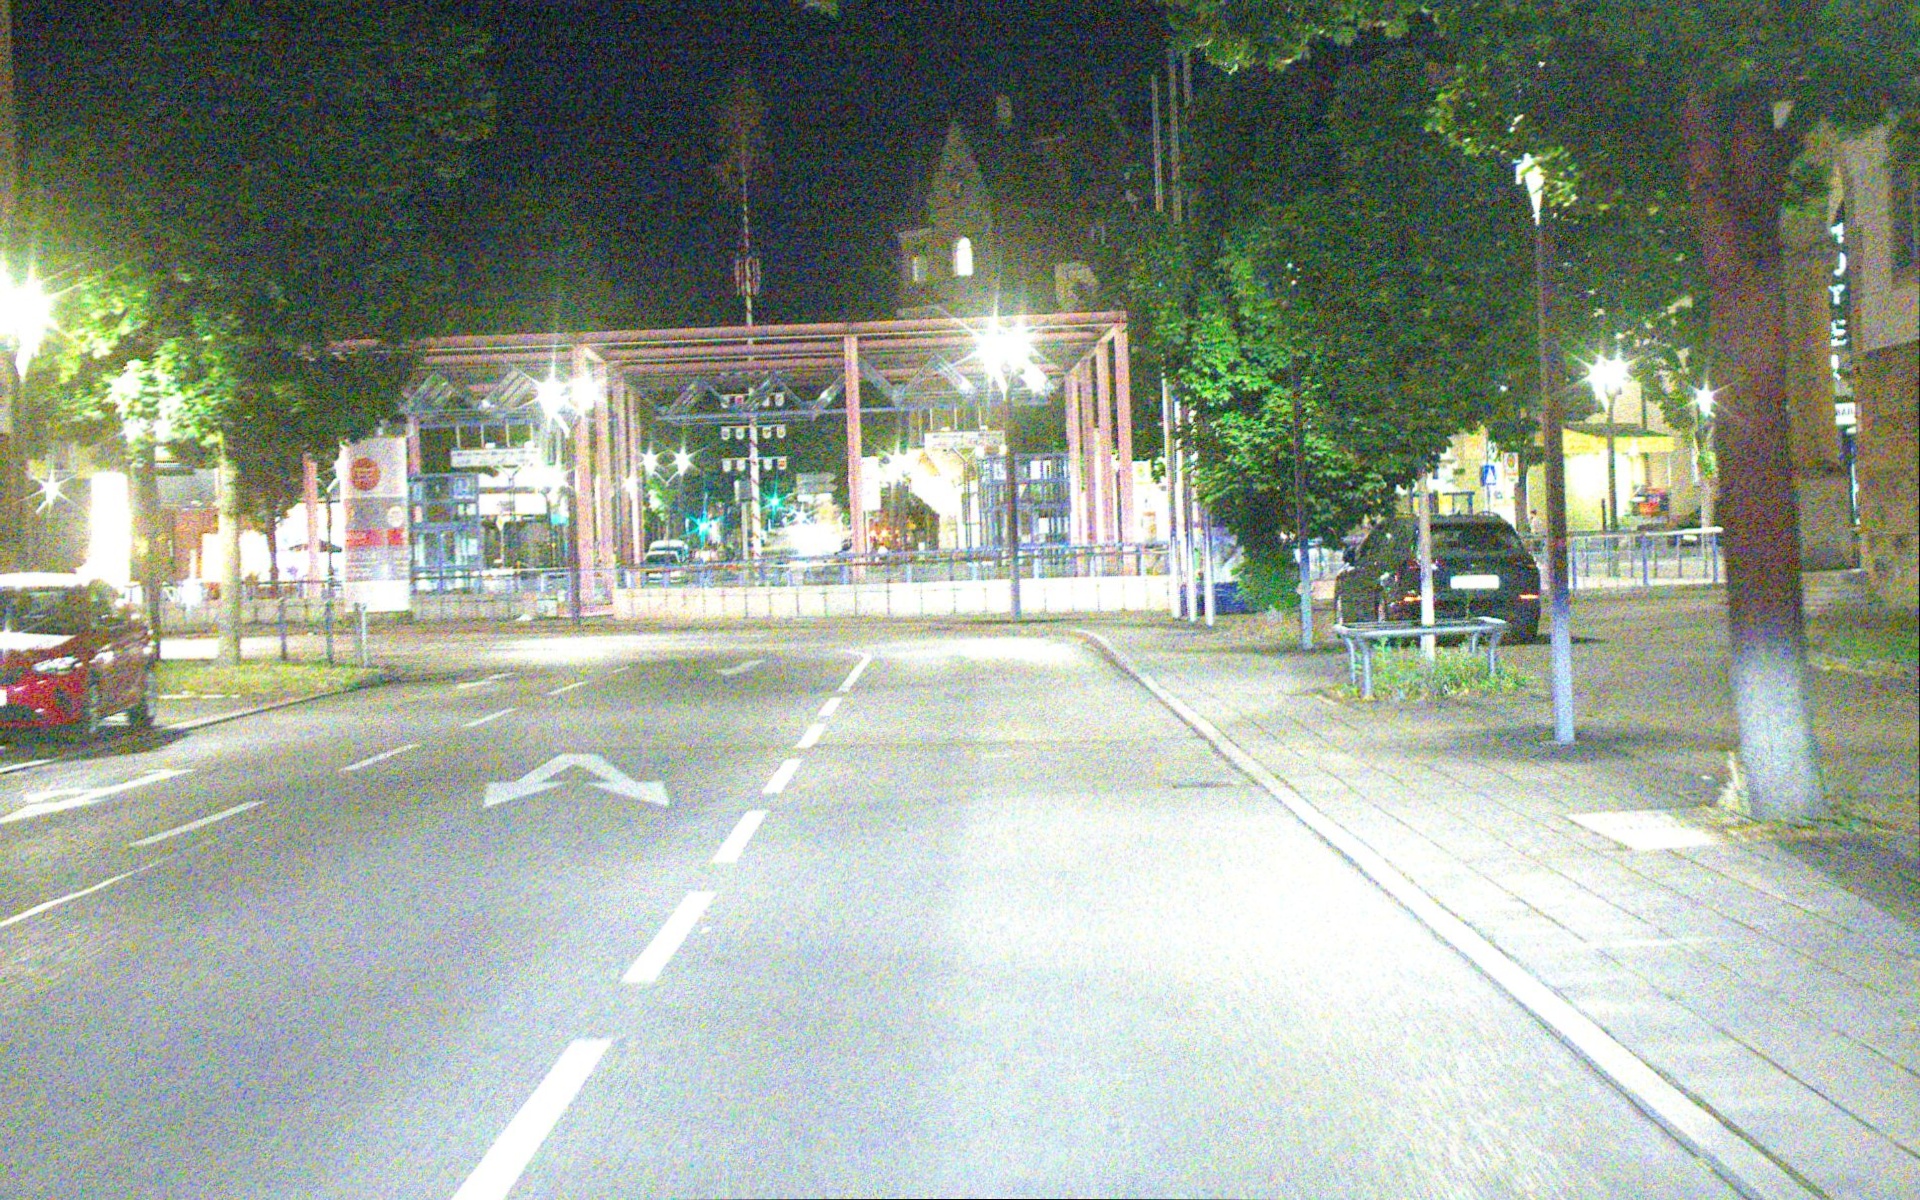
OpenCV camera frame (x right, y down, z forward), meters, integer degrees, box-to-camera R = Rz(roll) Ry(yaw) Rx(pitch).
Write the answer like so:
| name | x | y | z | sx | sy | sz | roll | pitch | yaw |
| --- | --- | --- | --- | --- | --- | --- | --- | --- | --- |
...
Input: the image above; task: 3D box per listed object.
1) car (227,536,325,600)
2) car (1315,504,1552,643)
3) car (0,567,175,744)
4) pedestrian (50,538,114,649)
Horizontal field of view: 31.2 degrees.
| name | x | y | z | sx | sy | sz | roll | pitch | yaw |
| --- | --- | --- | --- | --- | --- | --- | --- | --- | --- |
| car | -18.299 | -0.879 | 92.167 | 1.993 | 1.568 | 4.329 | -2 | 1 | -4 |
| car | 5.372 | -0.335 | 39.612 | 1.733 | 1.454 | 4.728 | -2 | 1 | -4 |
| car | -8.373 | 0.452 | 30.870 | 1.784 | 1.411 | 4.127 | -1 | 1 | -1 |
| pedestrian | -14.390 | -0.105 | 56.346 | 0.692 | 1.815 | 0.724 | -1 | 0 | 44 |
